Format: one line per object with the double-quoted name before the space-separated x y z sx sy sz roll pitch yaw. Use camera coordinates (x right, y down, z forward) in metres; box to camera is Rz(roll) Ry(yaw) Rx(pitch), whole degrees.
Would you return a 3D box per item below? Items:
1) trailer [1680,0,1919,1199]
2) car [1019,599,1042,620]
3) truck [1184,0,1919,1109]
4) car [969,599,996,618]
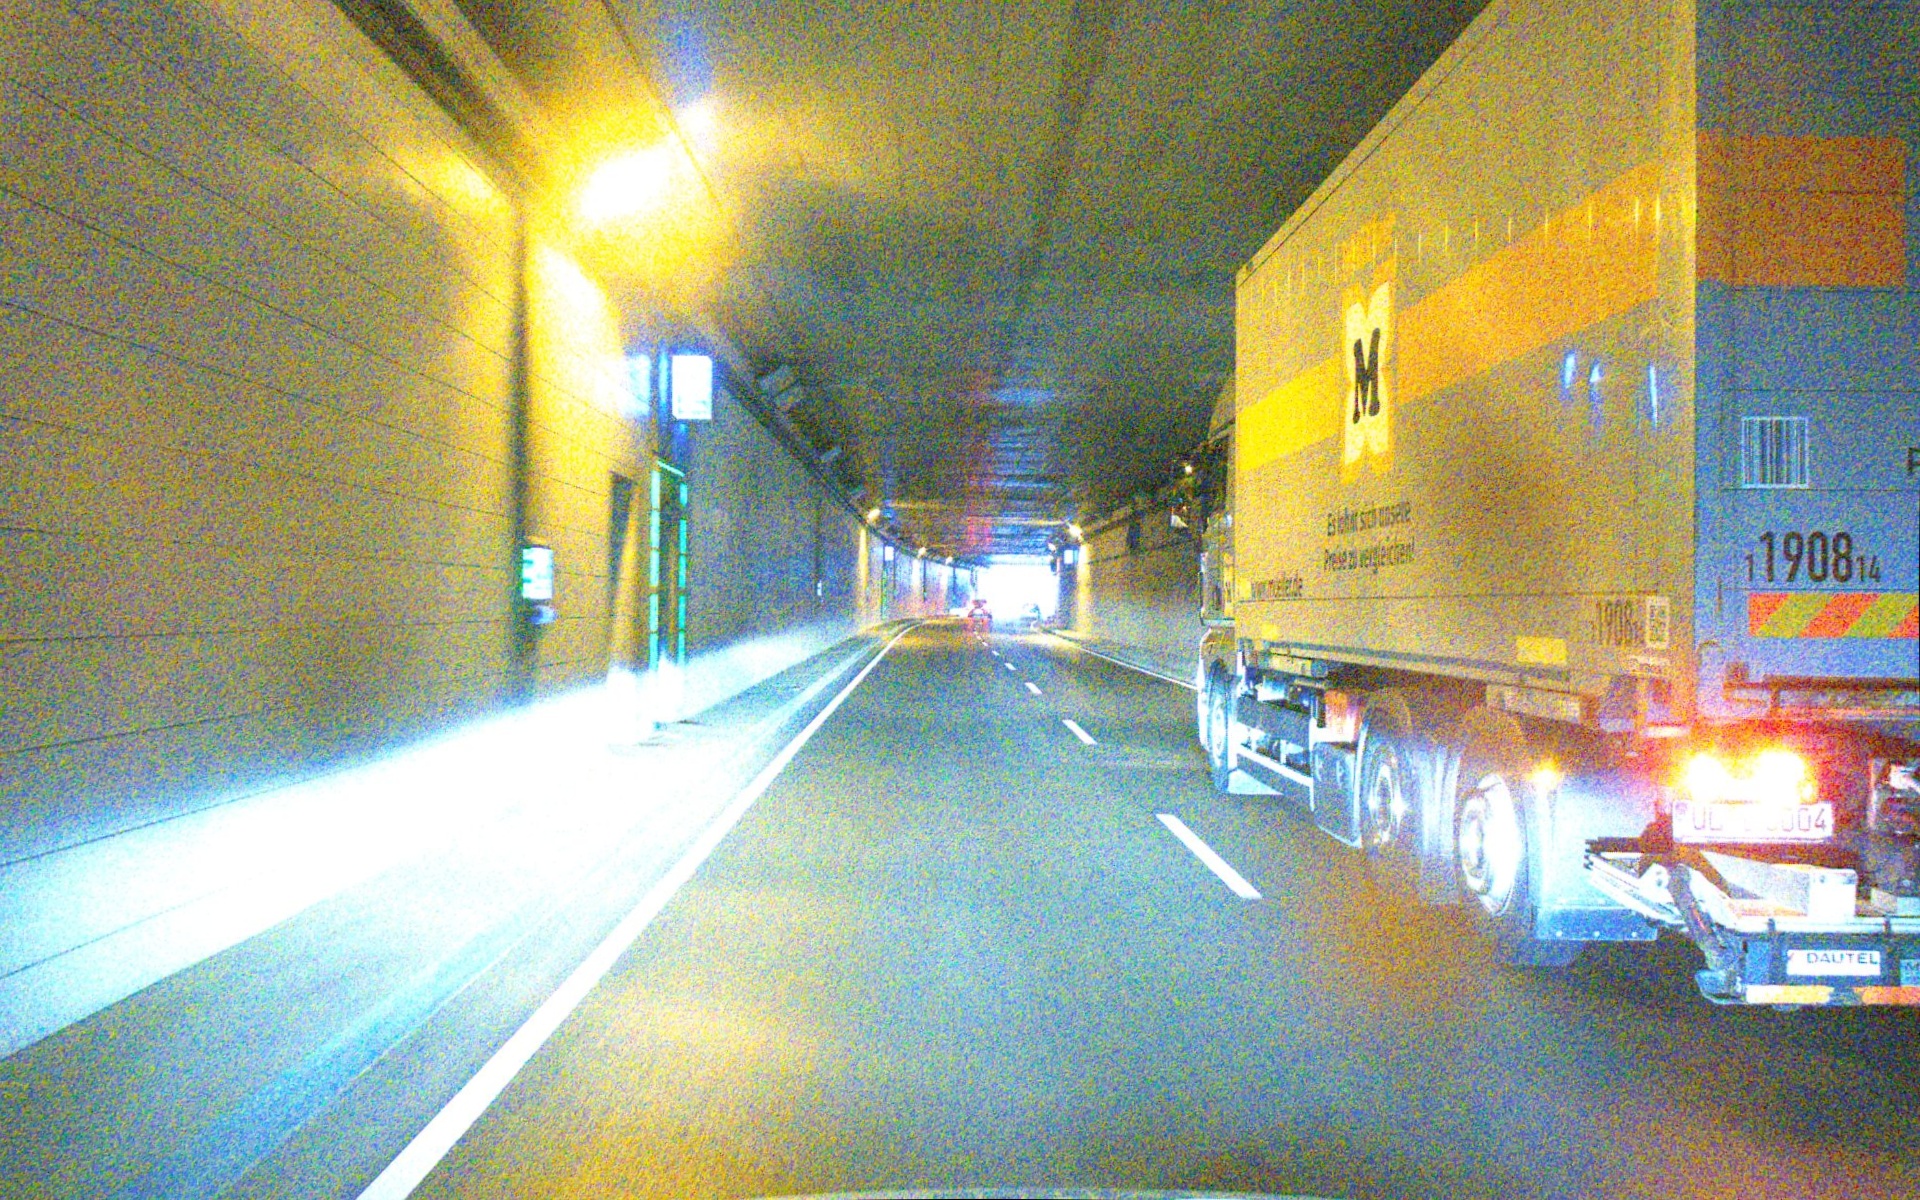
"trailer" 3.564 -0.493 0.358 2.817 3.926 8.946 1 0 -1
"car" 6.275 0.830 146.440 1.830 1.763 4.002 1 -1 5
"truck" 3.482 -0.504 9.810 2.830 3.982 9.907 1 0 -1
"car" 1.744 0.643 126.978 1.802 1.413 4.002 1 0 4
